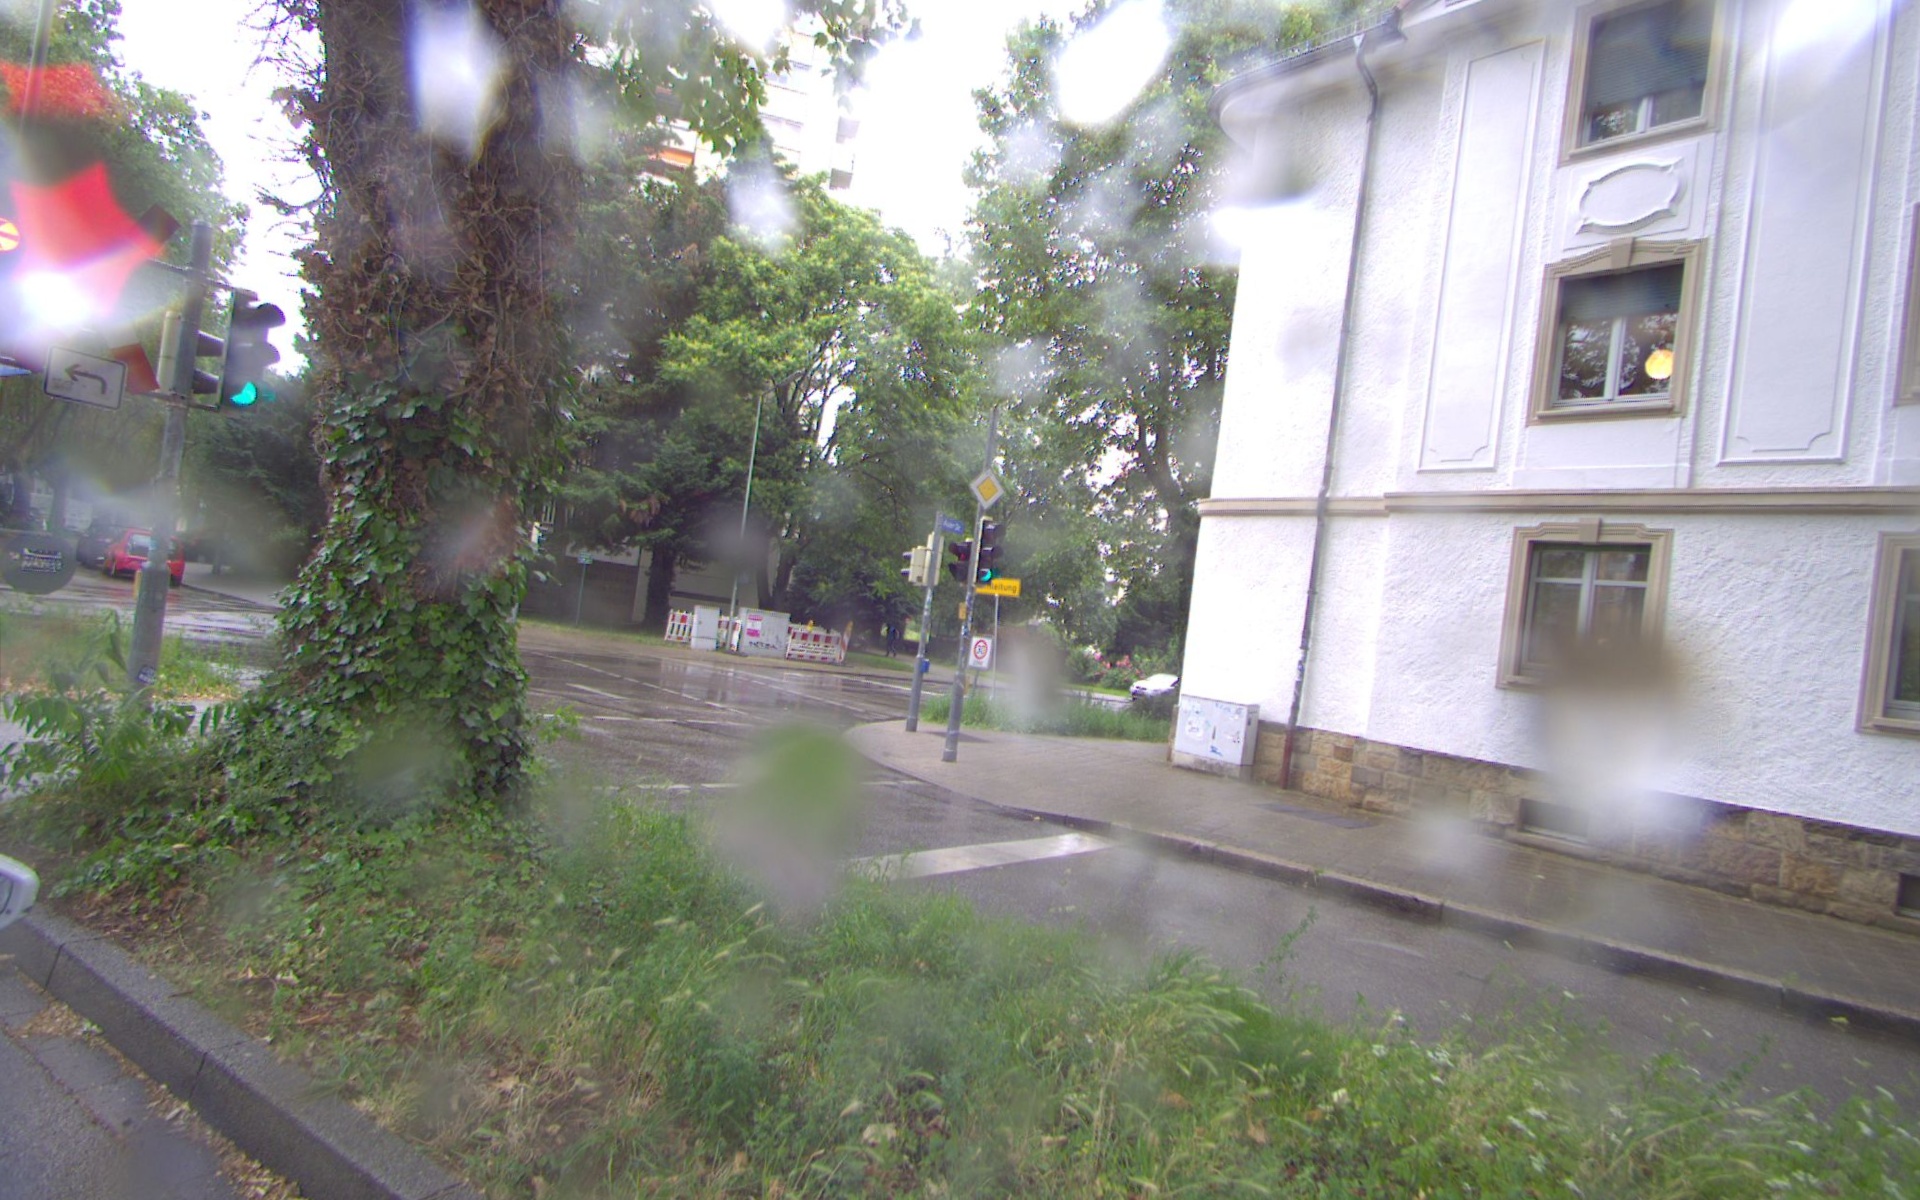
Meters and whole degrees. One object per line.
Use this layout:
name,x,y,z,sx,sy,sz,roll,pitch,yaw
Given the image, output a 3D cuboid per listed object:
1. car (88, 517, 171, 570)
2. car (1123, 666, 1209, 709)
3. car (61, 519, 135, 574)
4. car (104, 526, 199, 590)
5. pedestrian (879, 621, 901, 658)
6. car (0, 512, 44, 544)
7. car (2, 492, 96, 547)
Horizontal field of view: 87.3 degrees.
car,-28.099,-1.935,34.001,1.780,1.363,3.879,10,-2,-44
car,9.409,4.003,45.807,1.829,1.473,3.979,6,-3,45
car,-32.985,-2.076,38.455,1.779,1.747,3.951,9,-2,-44
car,-24.833,-1.307,30.844,1.788,1.515,3.950,10,-2,-44
pedestrian,-3.764,2.124,54.185,0.675,1.863,0.707,8,-1,-44
car,-56.207,-4.373,58.629,1.974,1.565,3.980,6,-3,44
car,-61.113,-5.387,67.533,4.680,2.982,2.043,7,-1,12
